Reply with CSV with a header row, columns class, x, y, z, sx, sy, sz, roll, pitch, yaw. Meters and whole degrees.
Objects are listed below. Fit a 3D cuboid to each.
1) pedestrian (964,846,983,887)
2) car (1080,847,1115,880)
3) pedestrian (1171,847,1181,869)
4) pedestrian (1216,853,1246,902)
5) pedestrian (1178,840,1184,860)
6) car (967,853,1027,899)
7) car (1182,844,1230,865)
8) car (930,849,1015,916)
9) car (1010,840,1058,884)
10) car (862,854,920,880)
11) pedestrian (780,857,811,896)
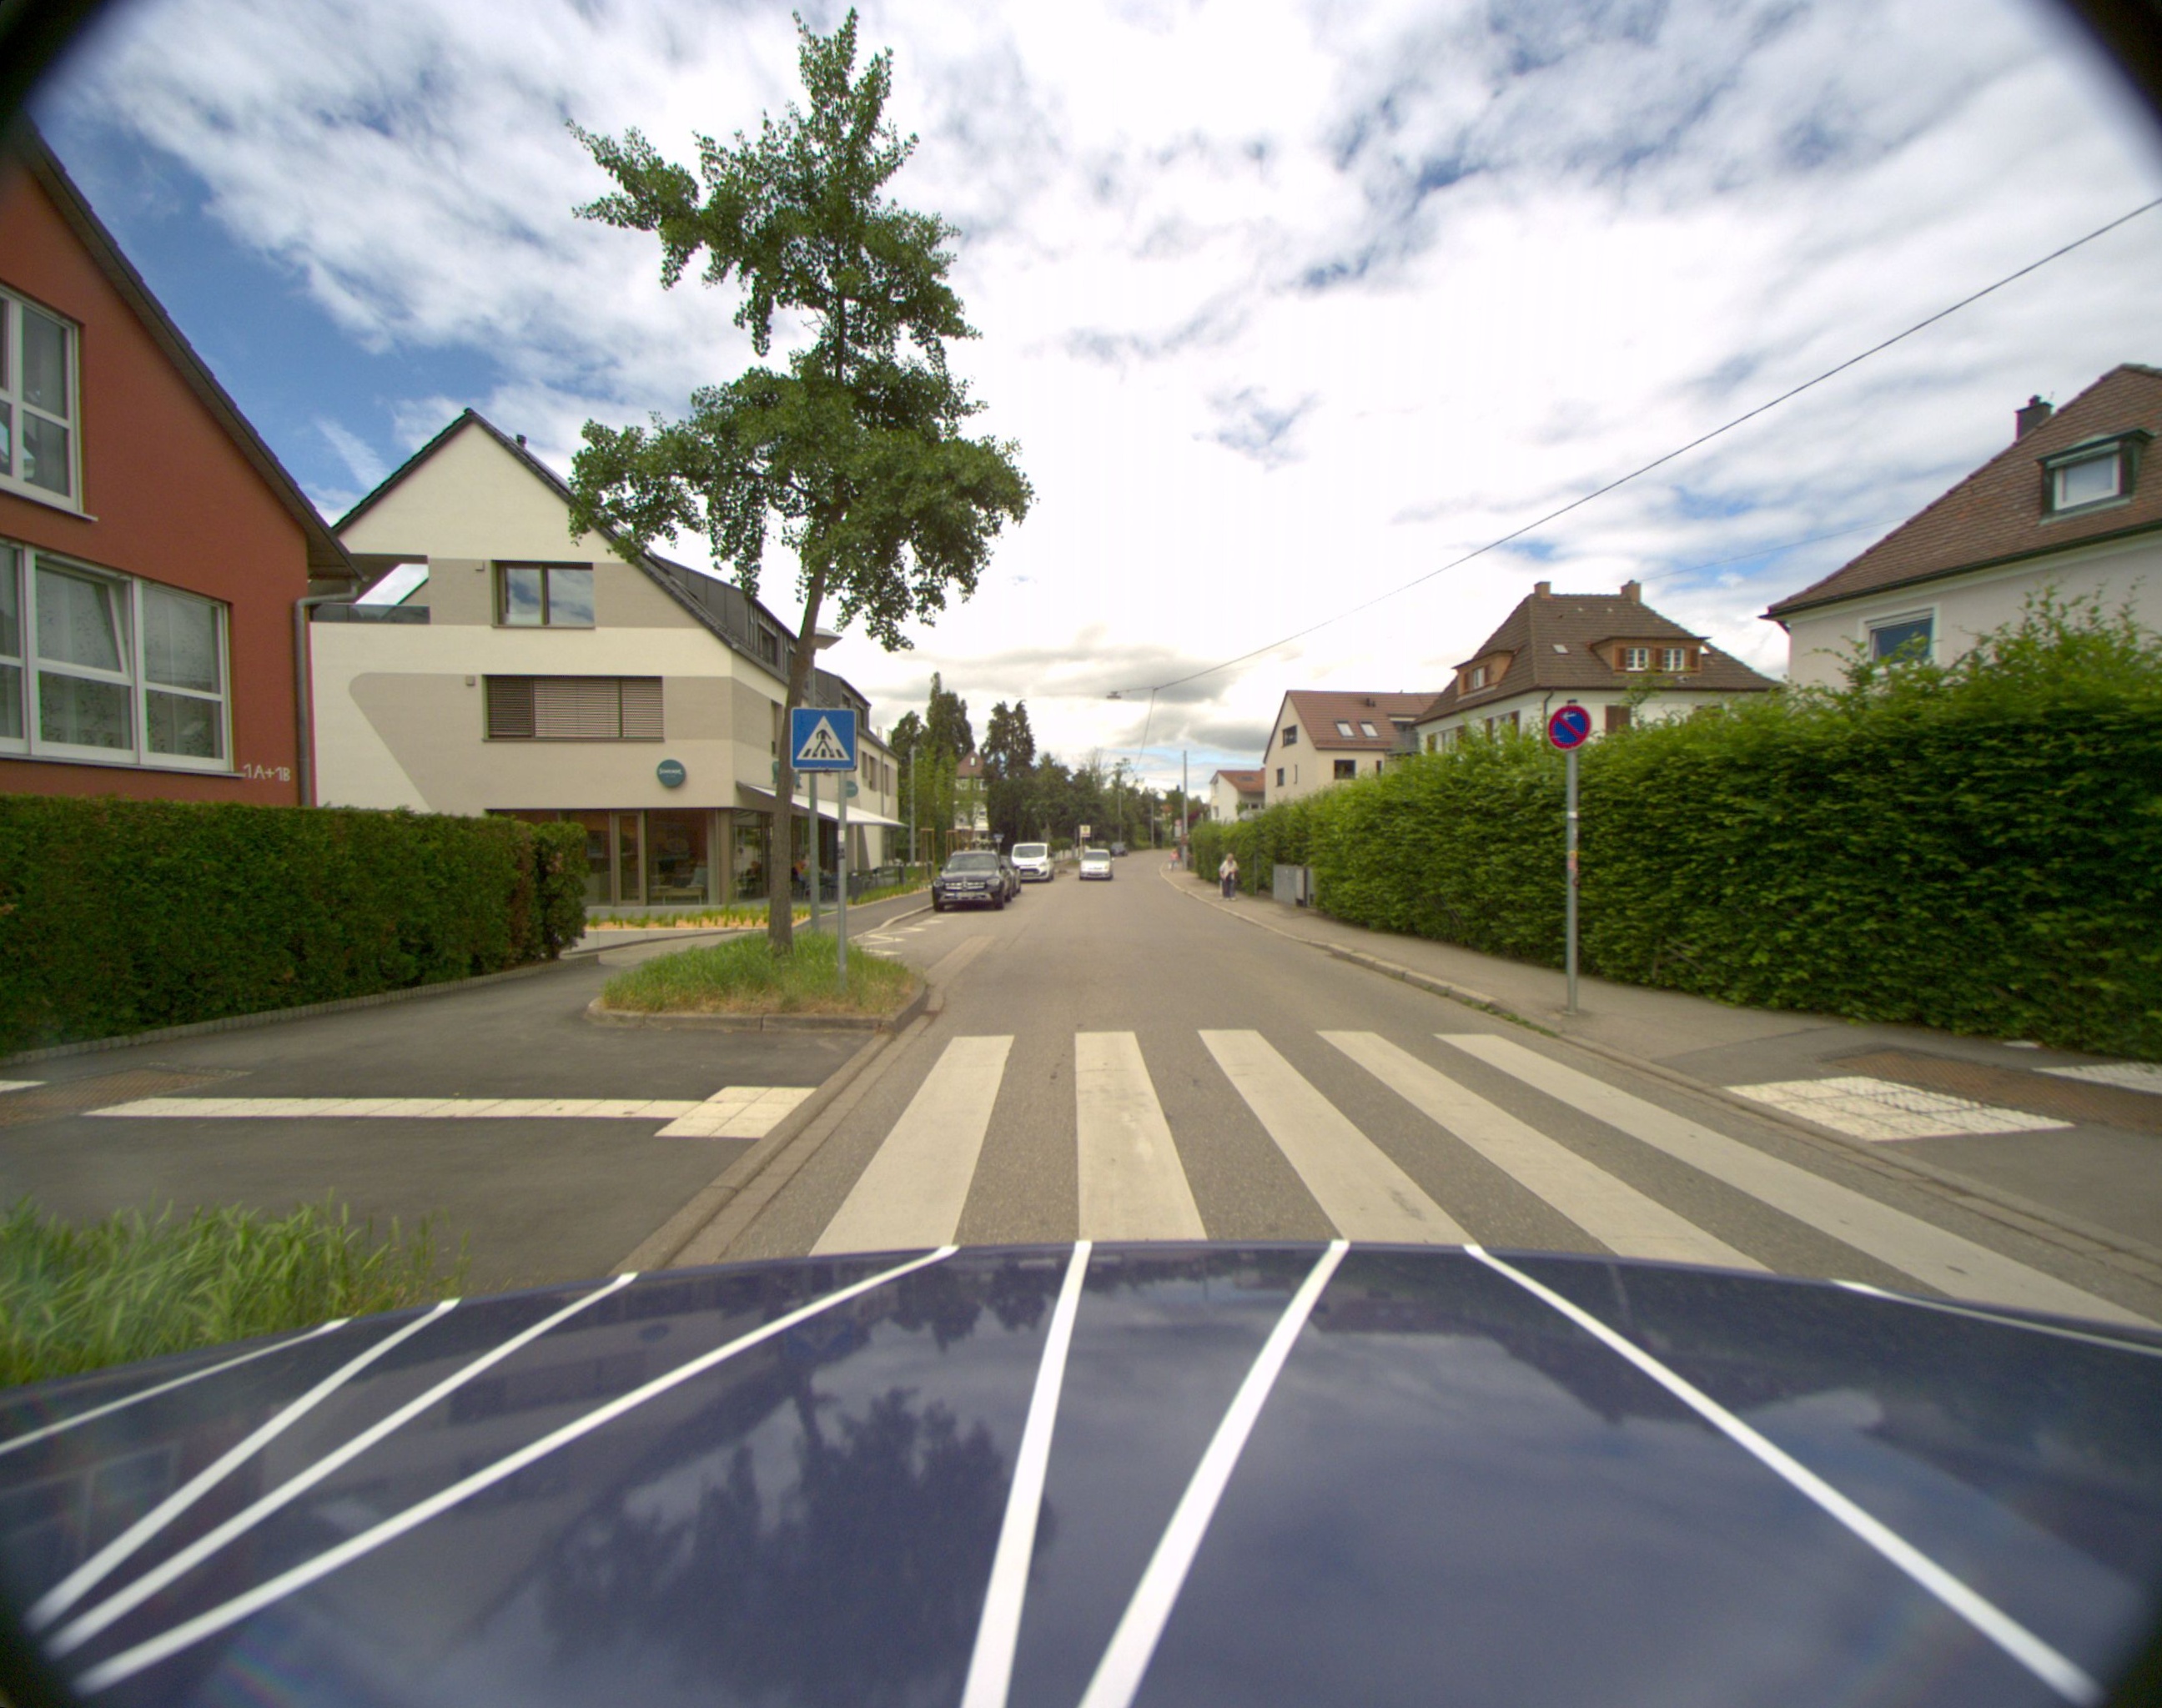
class,x,y,z,sx,sy,sz,roll,pitch,yaw
pedestrian,-4.434,0.523,31.312,0.678,1.659,0.660,0,1,1
car,0.855,0.461,39.928,1.726,1.559,3.927,-1,1,1
pedestrian,6.674,0.281,53.648,0.619,1.590,0.608,-1,1,0
pedestrian,4.814,0.734,24.420,0.749,1.522,0.544,-2,1,-12
pedestrian,9.642,-0.371,73.184,0.535,1.941,0.528,0,1,10
car,-2.963,0.747,27.537,1.711,1.444,3.834,-2,1,0
car,10.973,0.023,66.806,3.996,1.718,1.885,-1,1,3
car,-2.978,0.727,21.764,1.852,1.627,4.464,-2,1,-1
car,-2.347,0.335,39.141,1.998,2.002,5.566,-2,1,0
car,-14.169,0.973,56.839,3.844,1.587,1.874,-5,2,-6
pedestrian,-9.240,0.732,24.589,0.753,1.231,0.691,-1,1,-5
